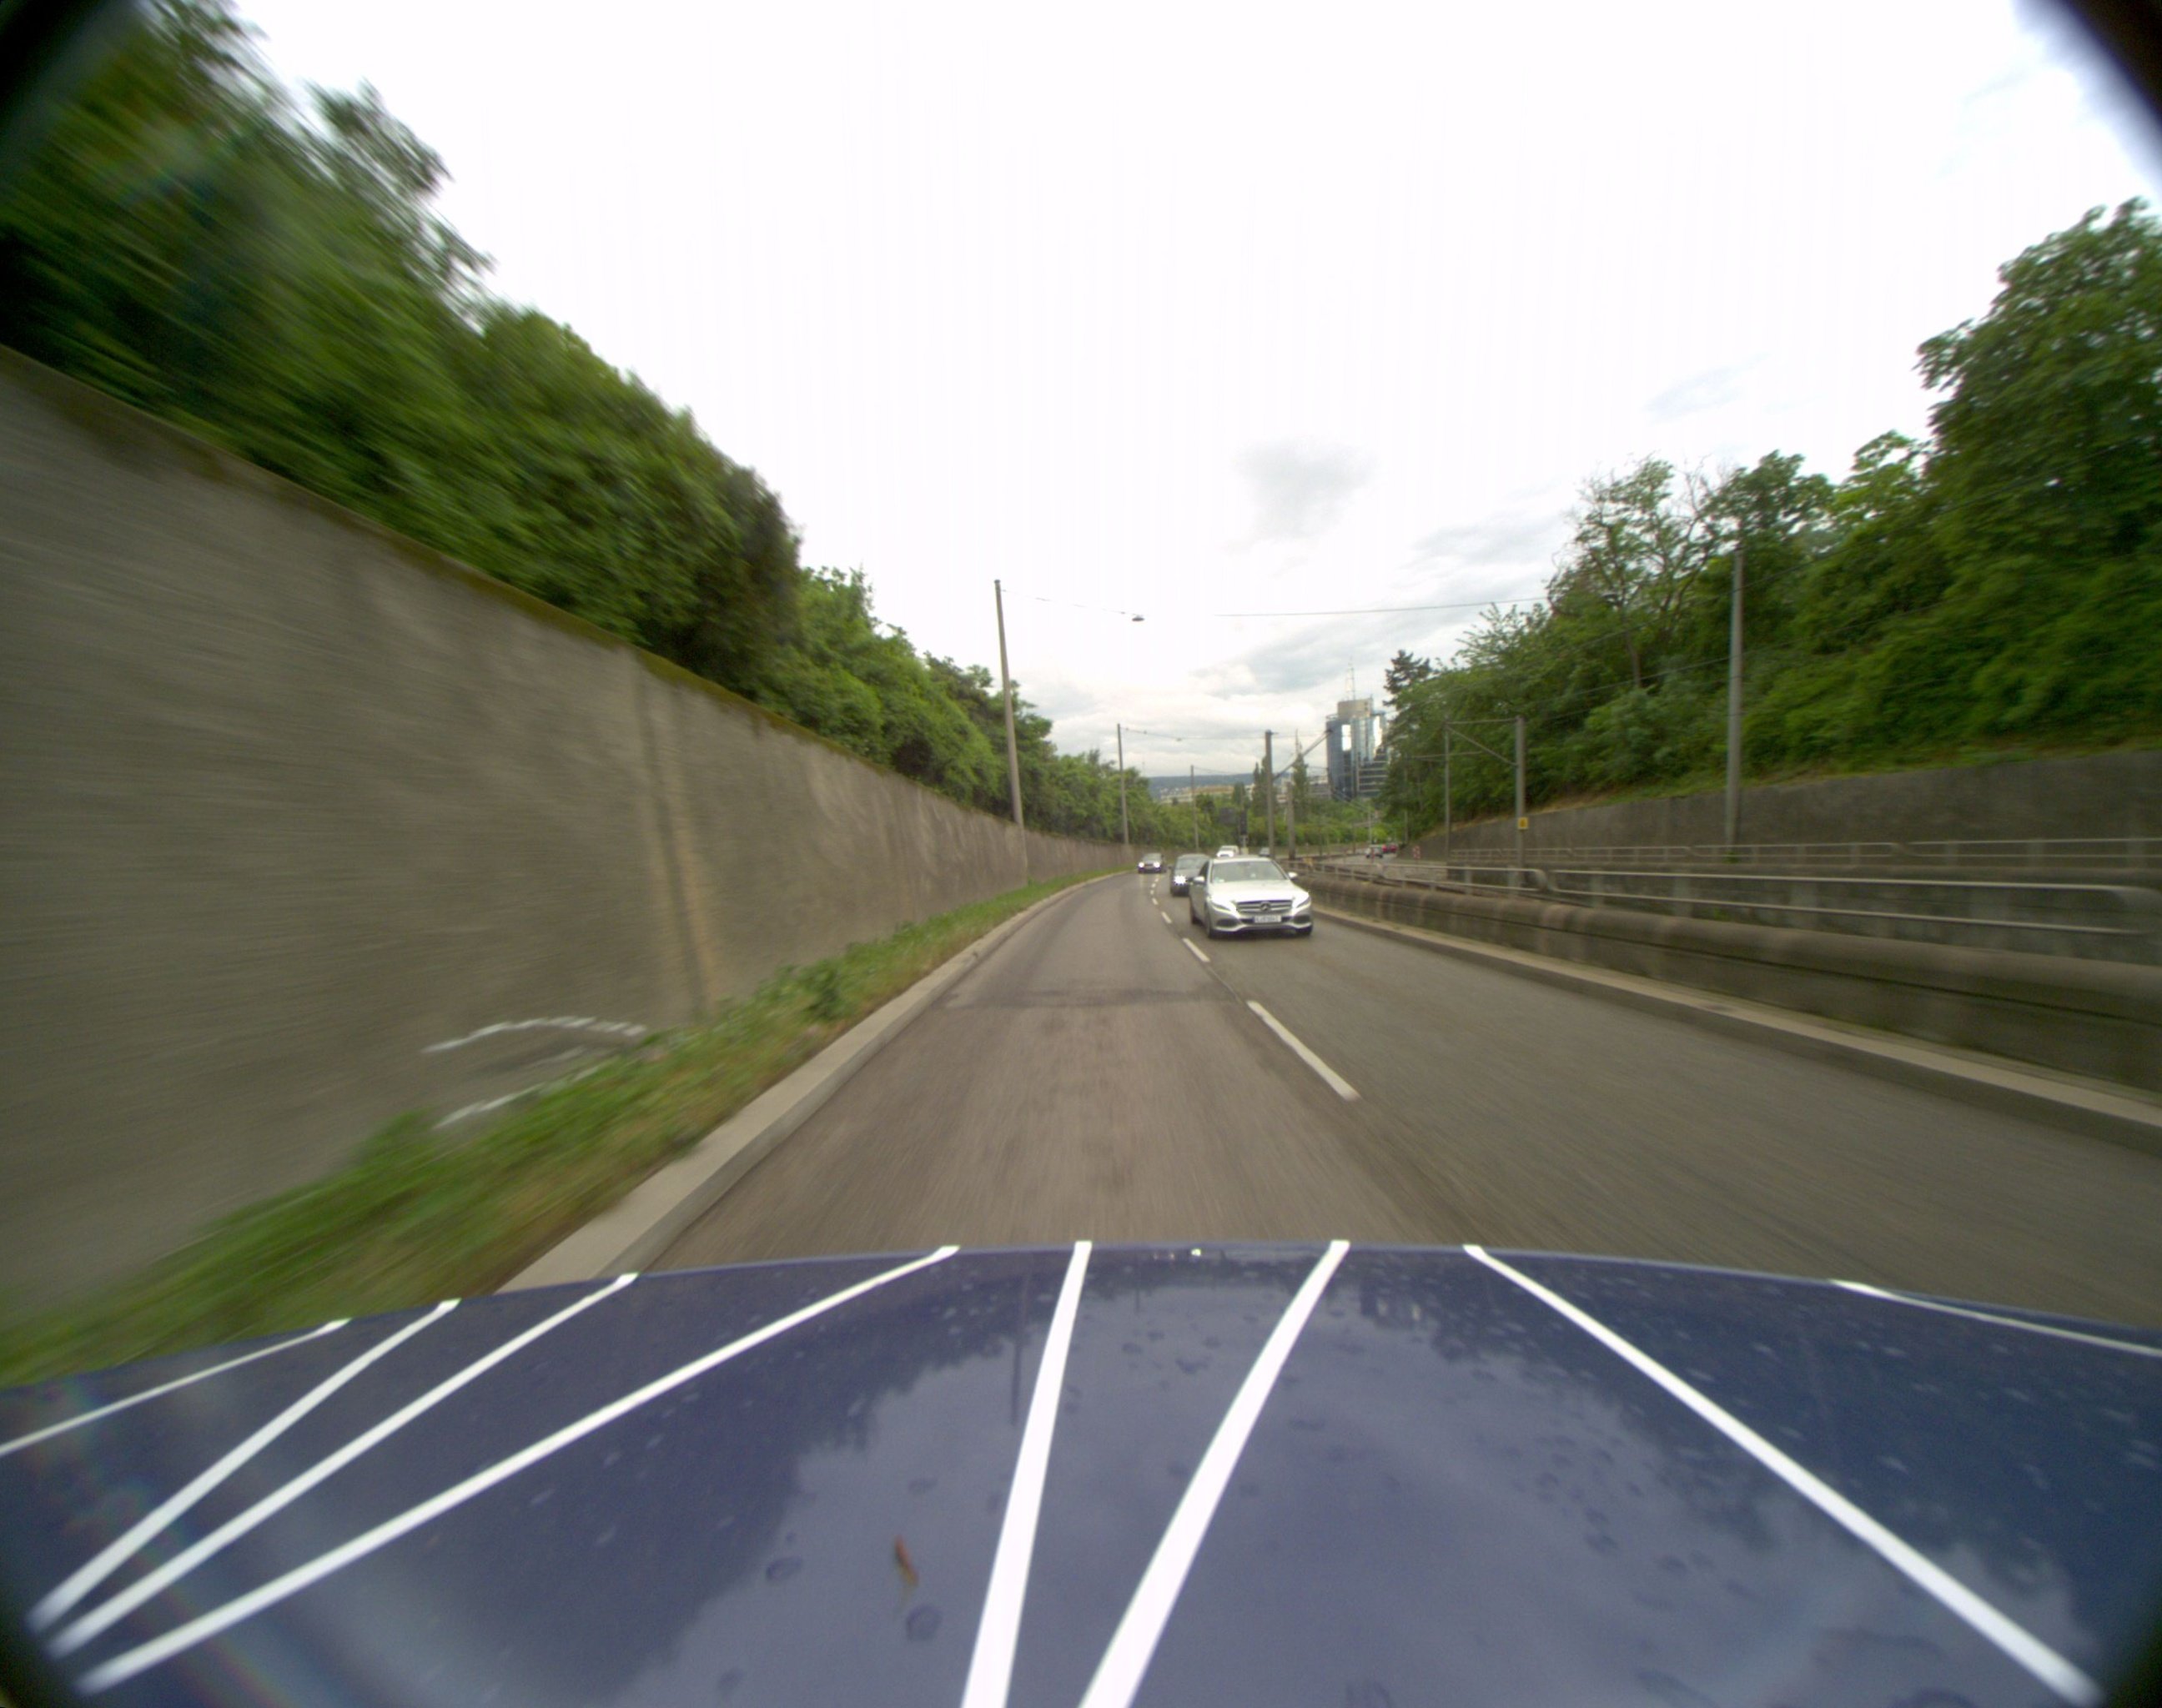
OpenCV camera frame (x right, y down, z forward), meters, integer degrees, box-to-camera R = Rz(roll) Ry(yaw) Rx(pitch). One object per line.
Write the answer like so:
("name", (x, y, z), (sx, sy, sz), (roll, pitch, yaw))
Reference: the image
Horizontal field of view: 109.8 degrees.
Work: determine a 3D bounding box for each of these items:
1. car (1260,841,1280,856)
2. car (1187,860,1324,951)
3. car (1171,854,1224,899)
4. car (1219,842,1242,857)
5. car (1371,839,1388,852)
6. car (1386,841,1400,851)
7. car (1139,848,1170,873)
("car", (26.049, -0.767, 104.681), (1.995, 2.002, 4.501), (-1, 0, 22))
("car", (3.191, 0.872, 14.754), (1.861, 1.395, 4.315), (-2, 0, 3))
("car", (4.183, 0.772, 27.459), (1.728, 1.462, 3.890), (-1, 0, 8))
("car", (18.752, -0.599, 94.935), (1.807, 1.501, 4.005), (-3, 2, 26))
("car", (38.432, -1.107, 97.809), (1.936, 1.674, 4.414), (-1, 1, 22))
("car", (55.263, -1.412, 134.634), (2.235, 1.820, 5.145), (-1, 1, 24))
("car", (5.423, 0.472, 55.880), (1.808, 1.501, 4.001), (-4, 2, 11))
